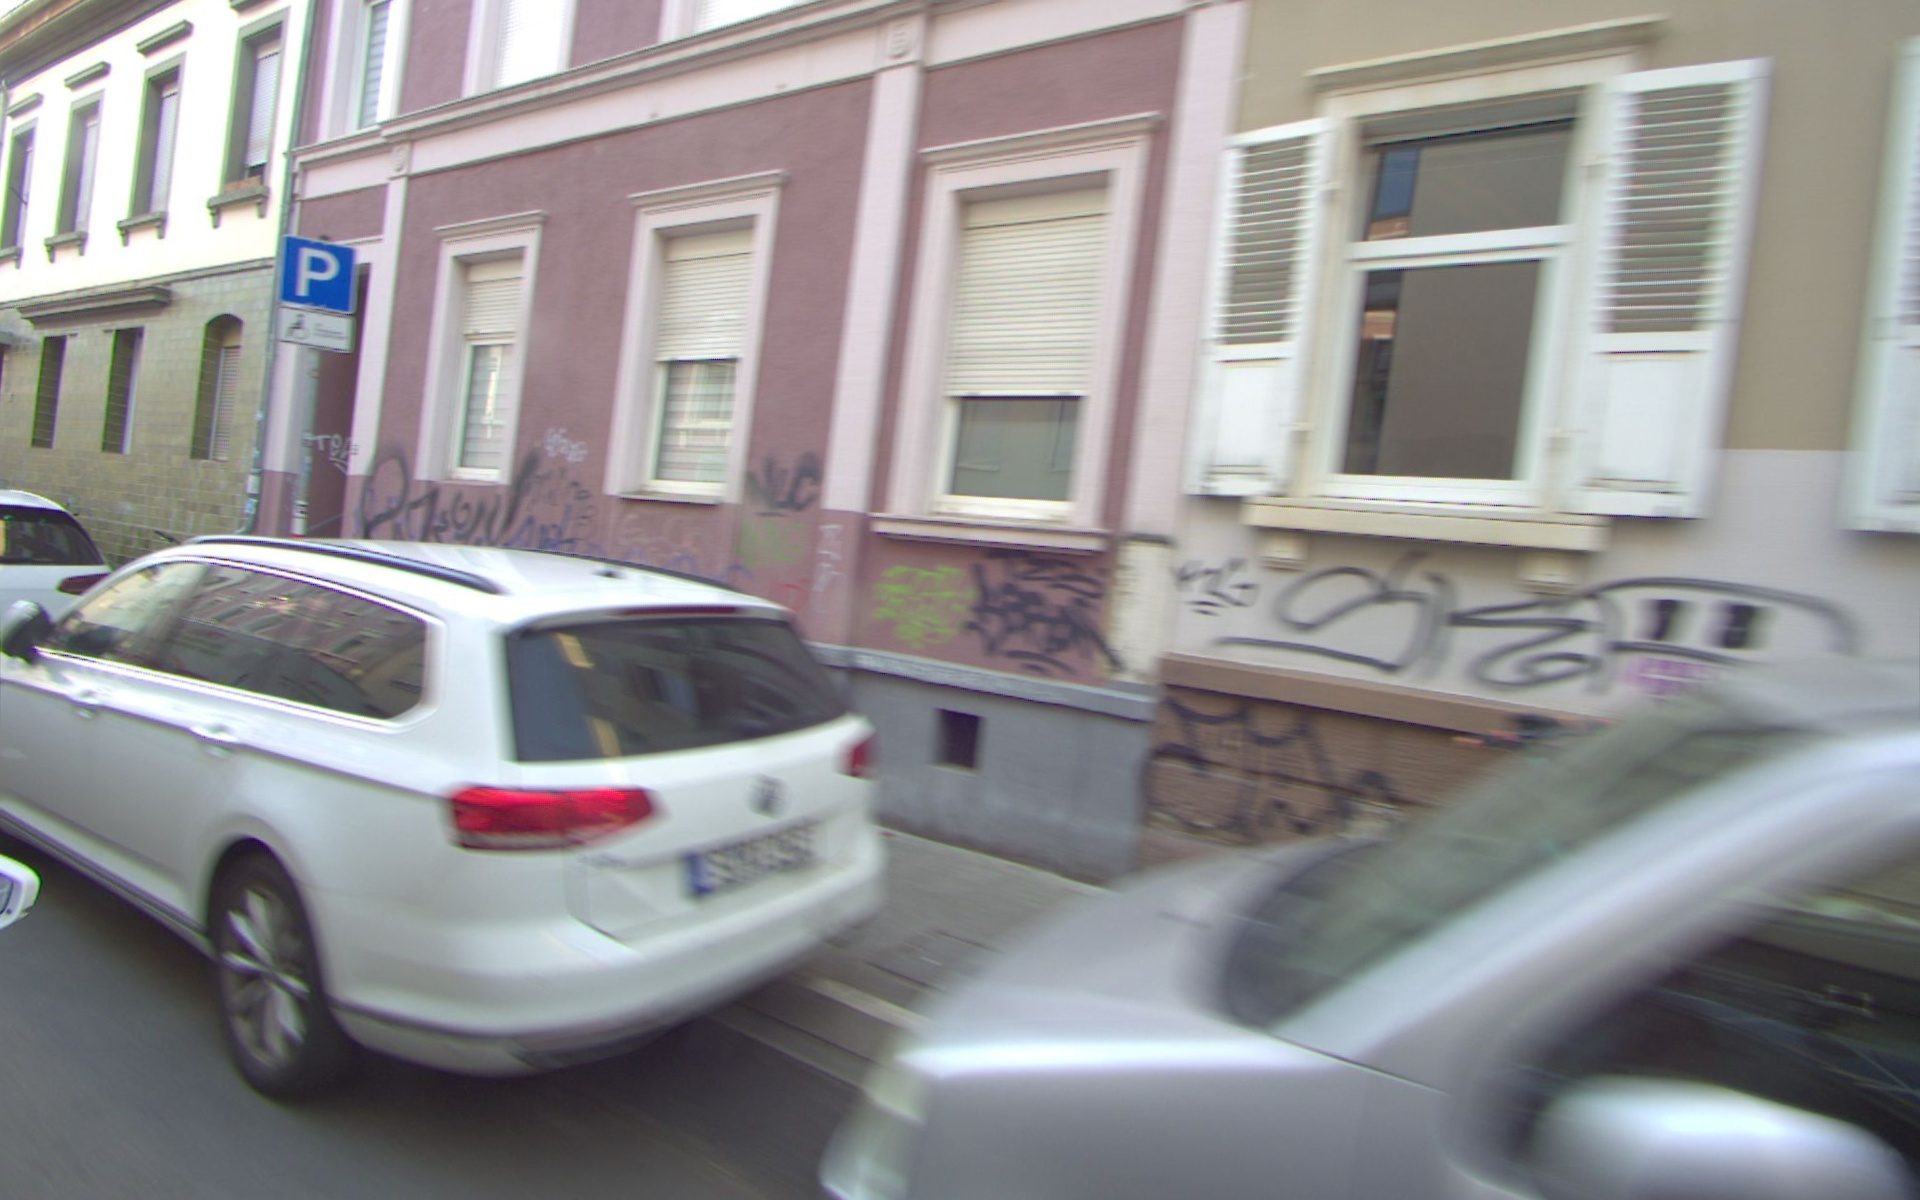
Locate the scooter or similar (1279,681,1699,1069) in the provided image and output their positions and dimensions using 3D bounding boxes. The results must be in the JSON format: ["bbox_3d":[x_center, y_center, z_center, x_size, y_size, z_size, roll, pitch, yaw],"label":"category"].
[{"bbox_3d":[2.103,1.030,4.127,1.346,1.199,0.450,7,4,32],"label":"scooter or similar"}]

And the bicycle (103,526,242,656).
[{"bbox_3d":[-8.399,-0.109,10.709,1.657,1.187,0.522,7,-1,32],"label":"bicycle"}]

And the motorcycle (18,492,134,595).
[{"bbox_3d":[-10.866,-0.702,12.351,1.747,1.110,0.558,6,3,32],"label":"motorcycle"}]

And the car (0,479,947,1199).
[{"bbox_3d":[-2.480,0.450,3.976,4.552,1.564,1.697,6,1,32],"label":"car"}]

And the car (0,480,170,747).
[{"bbox_3d":[-7.308,-0.104,6.864,3.979,1.564,1.687,6,1,32],"label":"car"}]

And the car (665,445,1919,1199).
[{"bbox_3d":[1.448,0.853,1.349,3.499,1.732,1.559,6,-1,32],"label":"car"}]

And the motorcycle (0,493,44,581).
[{"bbox_3d":[-13.134,-0.902,13.669,1.847,1.110,0.501,6,3,32],"label":"motorcycle"}]
